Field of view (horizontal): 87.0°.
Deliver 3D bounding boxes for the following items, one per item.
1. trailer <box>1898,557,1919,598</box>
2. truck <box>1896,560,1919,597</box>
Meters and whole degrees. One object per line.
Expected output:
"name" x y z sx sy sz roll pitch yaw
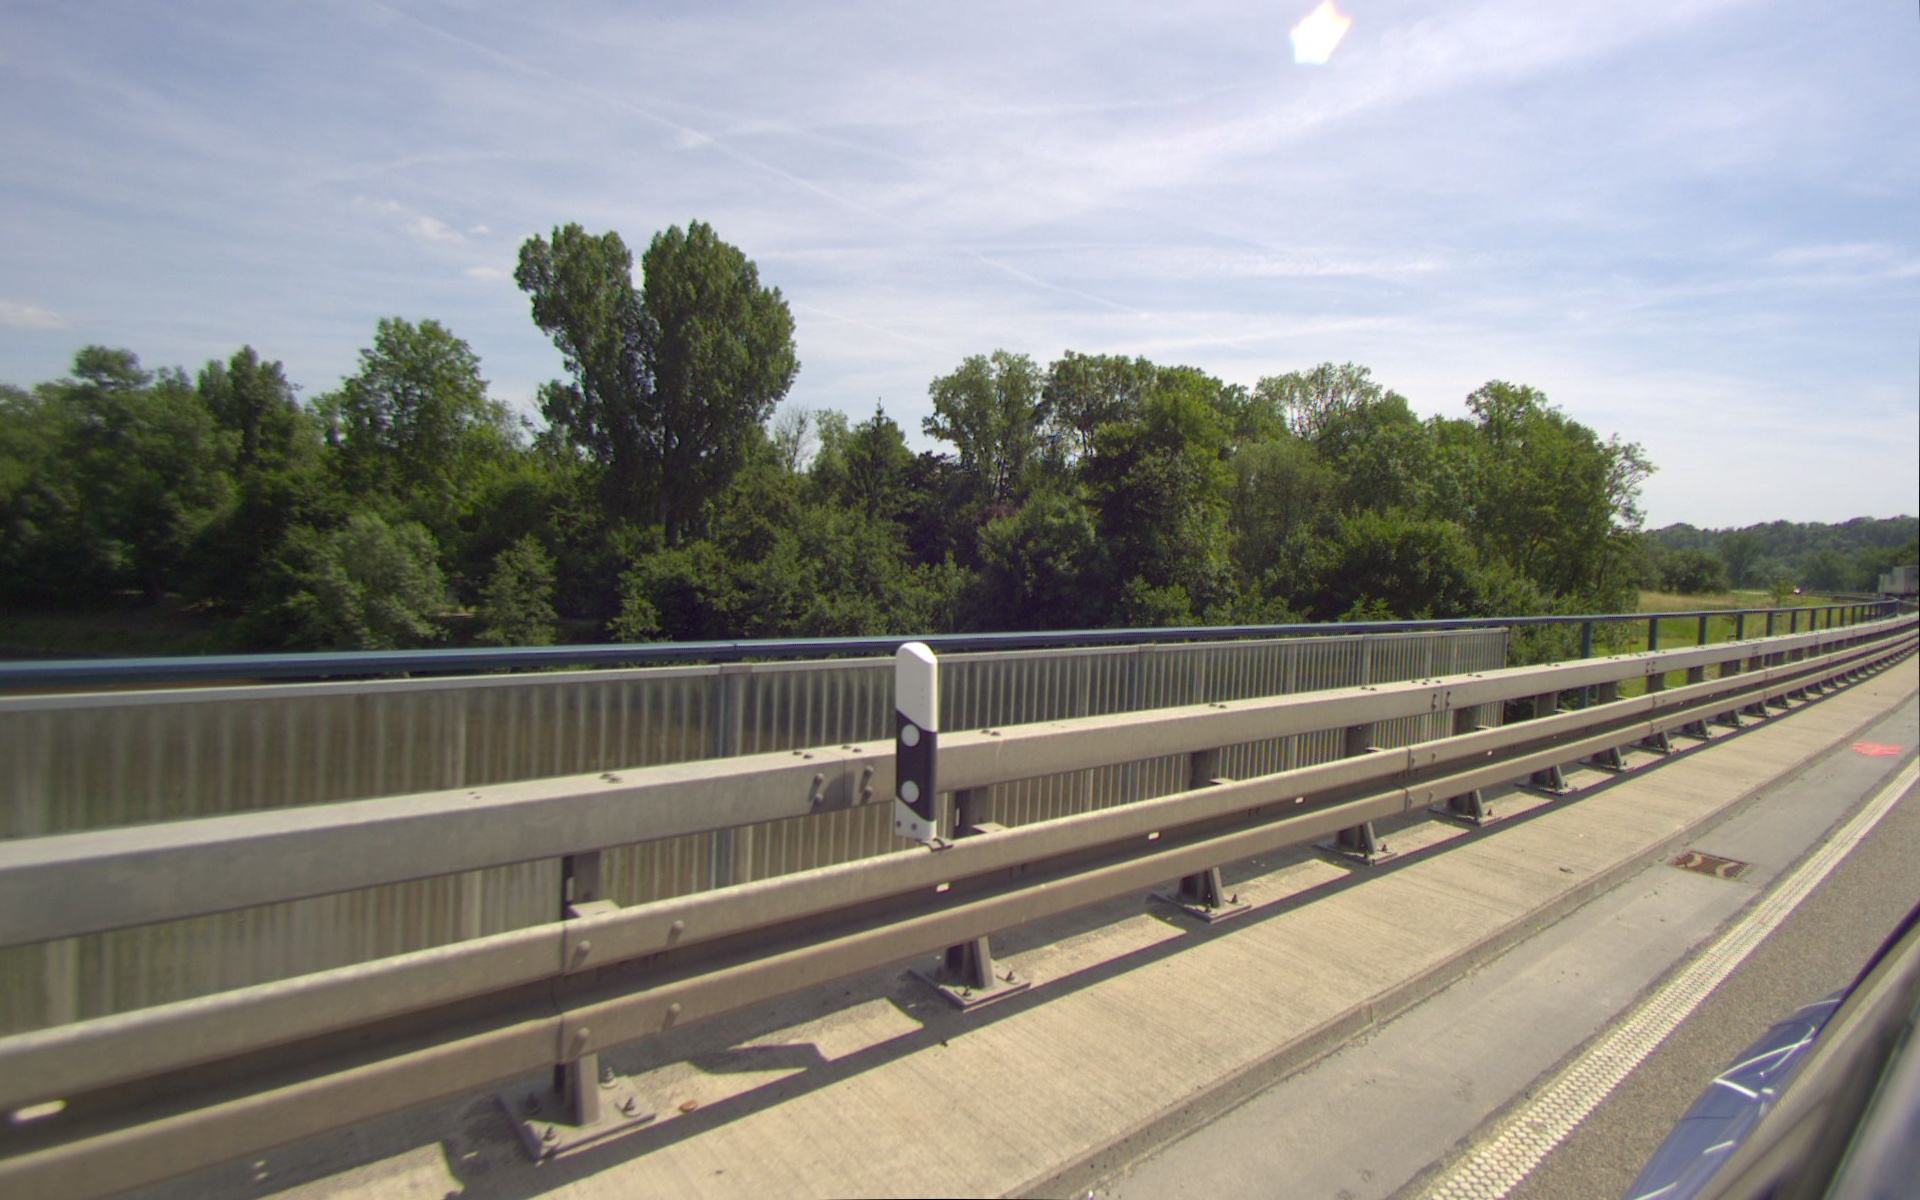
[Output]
"trailer" 105.071 -2.352 110.226 2.846 4.240 14.303 0 0 37
"truck" 108.832 -2.417 115.186 2.840 4.212 6.245 0 1 37
